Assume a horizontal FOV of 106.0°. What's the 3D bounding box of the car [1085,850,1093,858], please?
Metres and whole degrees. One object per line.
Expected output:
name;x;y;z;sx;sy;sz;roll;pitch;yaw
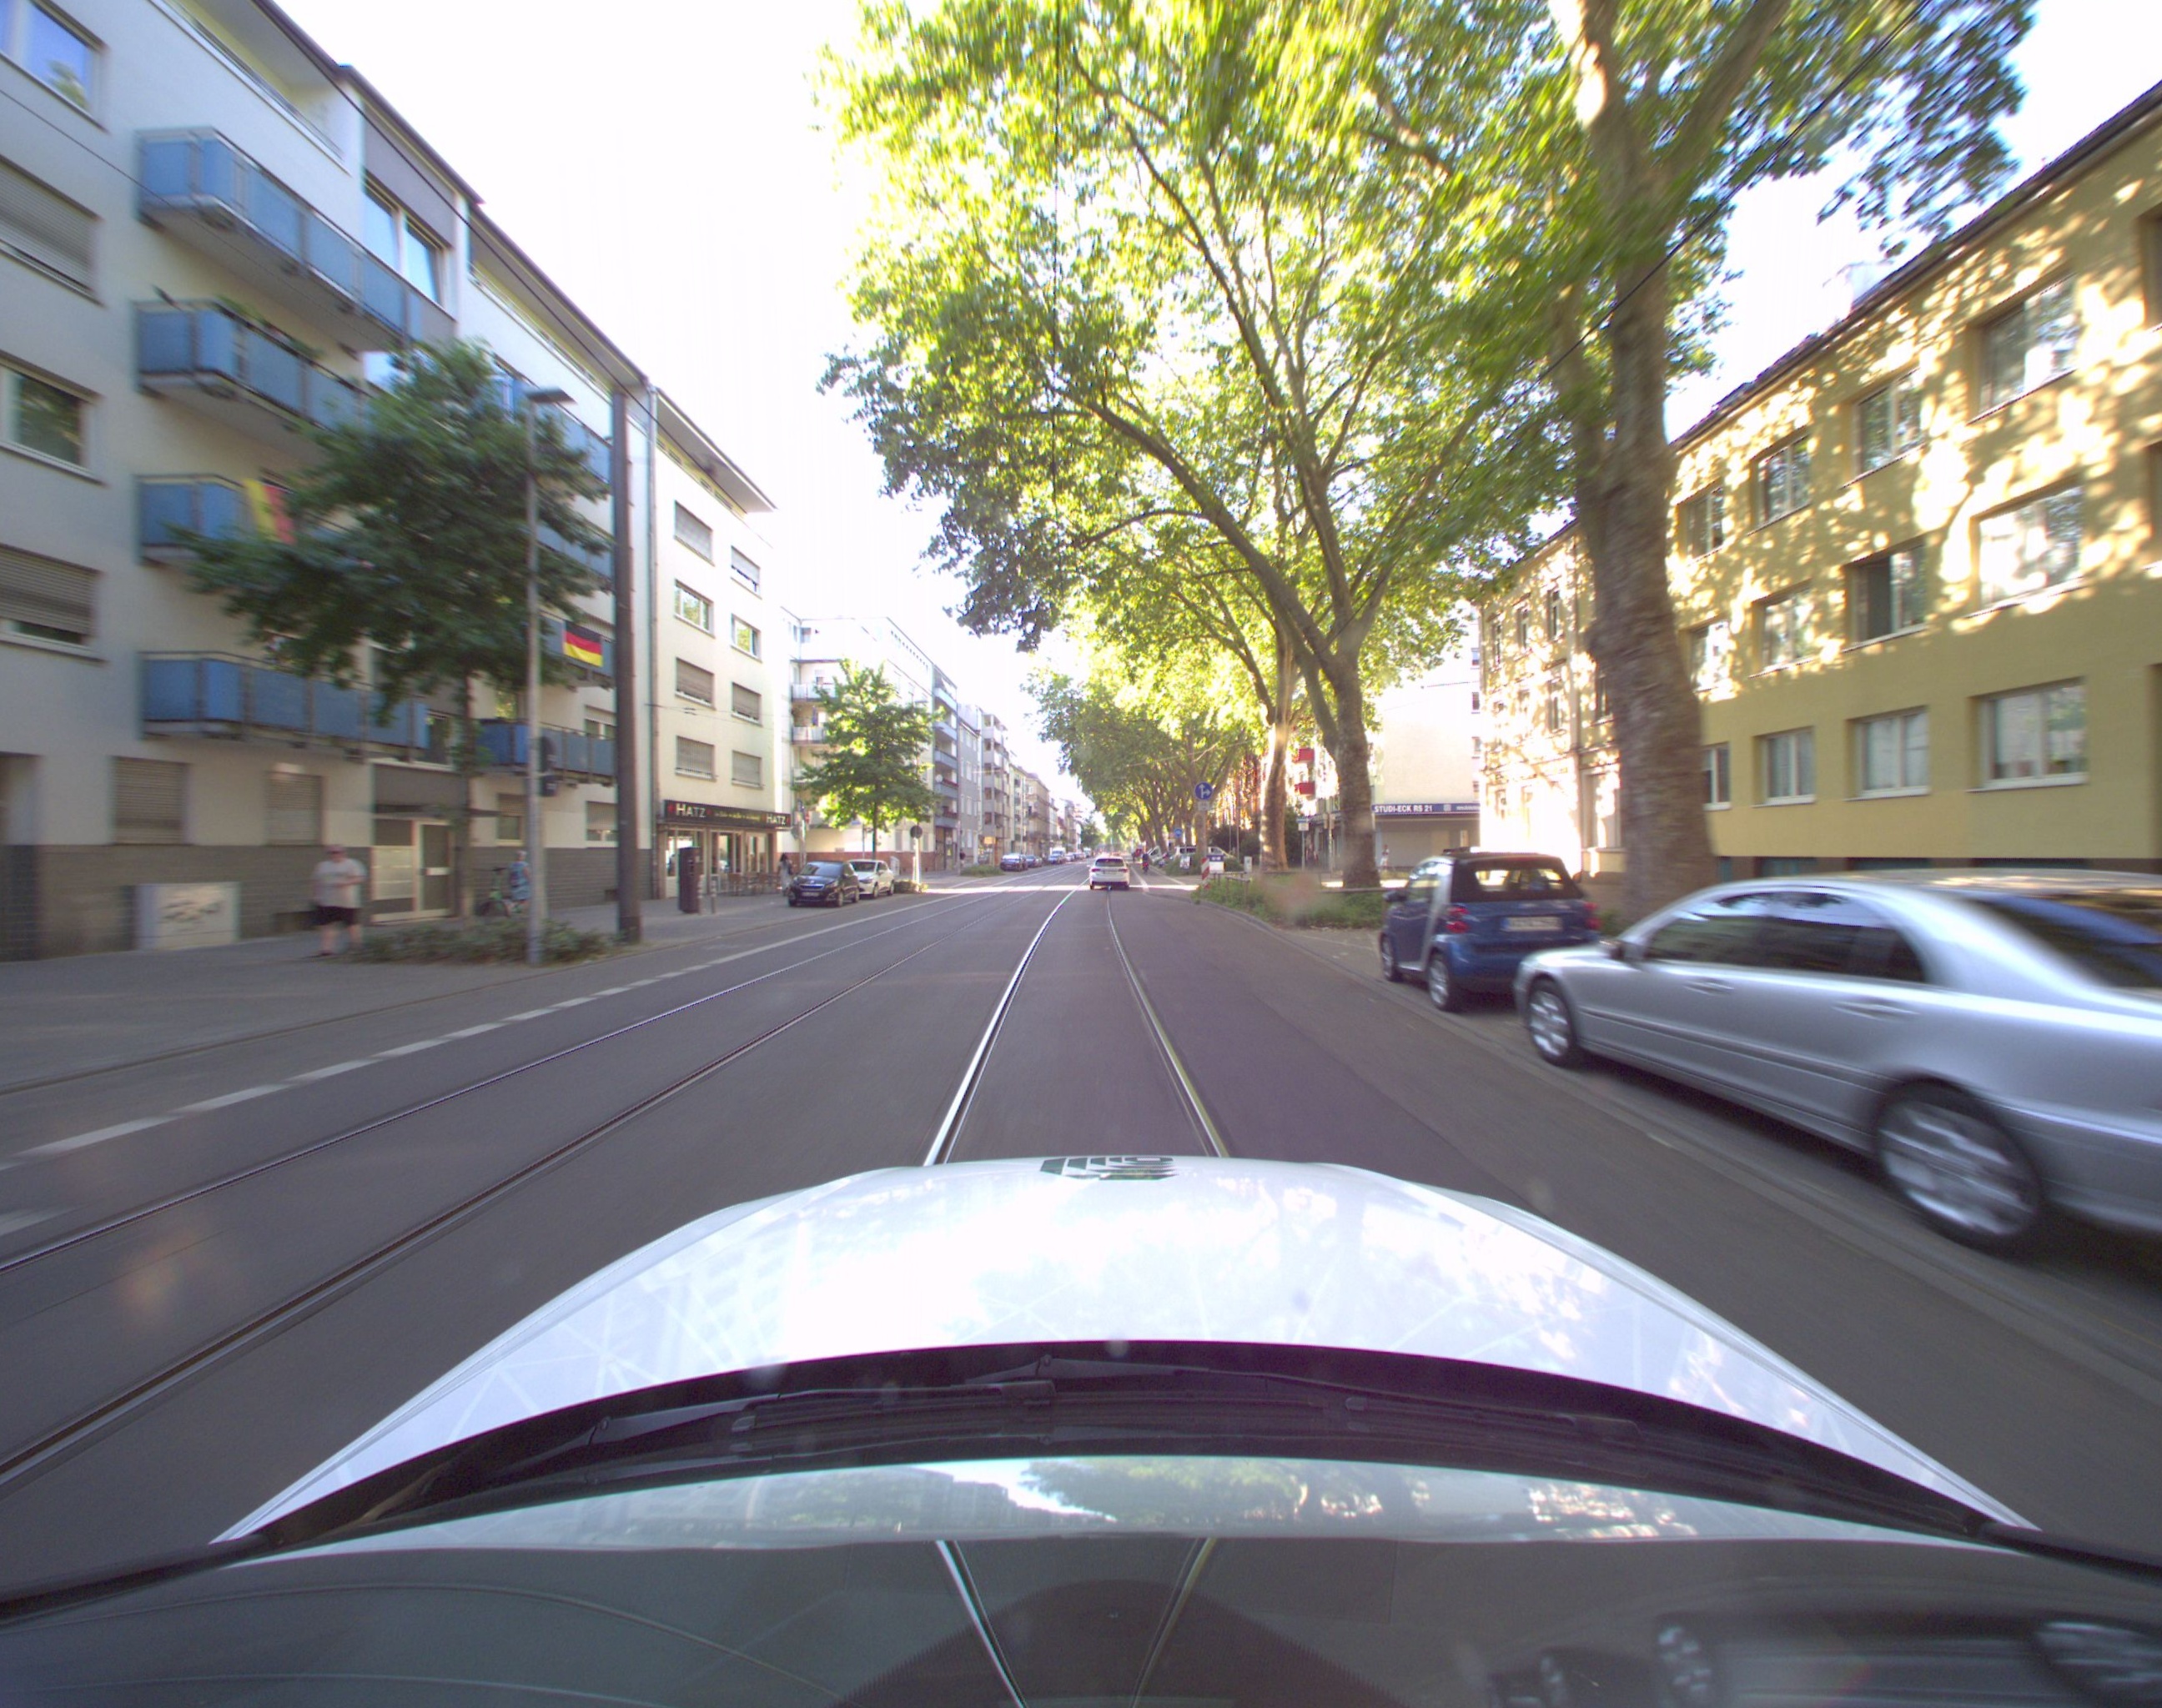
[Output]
car;2.388;0.008;236.431;1.985;2.013;4.003;-1;0;3

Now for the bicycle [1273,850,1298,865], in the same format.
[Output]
bicycle;17.741;0.289;70.652;1.941;1.156;0.571;-3;0;-5

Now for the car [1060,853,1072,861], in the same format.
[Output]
car;-2.771;0.540;152.922;1.985;1.530;4.003;-1;0;3

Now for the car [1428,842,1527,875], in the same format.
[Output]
car;20.185;0.241;41.545;4.121;1.593;1.998;-1;0;-3

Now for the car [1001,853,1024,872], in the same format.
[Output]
car;-6.377;0.800;75.914;1.696;1.650;4.242;1;0;1

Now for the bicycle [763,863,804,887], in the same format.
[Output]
bicycle;-15.098;1.059;41.285;1.930;1.156;0.574;-3;0;16

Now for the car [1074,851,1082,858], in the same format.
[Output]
car;-0.919;0.055;234.070;1.985;2.013;4.003;-1;0;3

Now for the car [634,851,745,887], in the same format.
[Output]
car;-20.748;0.773;43.340;4.862;1.822;2.037;-1;0;-2

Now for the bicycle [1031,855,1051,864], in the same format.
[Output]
bicycle;-5.334;0.772;108.872;2.544;1.172;0.873;2;-2;-37

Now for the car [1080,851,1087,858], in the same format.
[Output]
car;0.641;0.085;248.331;1.985;2.014;4.003;0;0;3

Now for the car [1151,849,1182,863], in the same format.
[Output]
car;10.264;0.260;98.220;3.617;1.666;1.824;-1;0;4

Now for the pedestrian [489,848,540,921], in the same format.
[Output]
pedestrian;-13.485;0.708;19.405;0.661;1.691;0.749;-1;0;1

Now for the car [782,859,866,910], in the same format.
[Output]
car;-8.378;0.944;26.887;1.710;1.464;3.994;2;0;-4

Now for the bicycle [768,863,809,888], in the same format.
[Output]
bicycle;-14.984;1.093;41.686;1.930;1.156;0.574;-3;0;16

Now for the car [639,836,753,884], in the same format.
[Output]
car;-23.157;0.327;49.140;5.788;2.723;2.171;-1;0;0

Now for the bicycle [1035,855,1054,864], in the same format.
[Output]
bicycle;-5.092;0.770;113.530;2.519;1.172;0.718;1;-2;-4

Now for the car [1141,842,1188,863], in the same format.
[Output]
car;11.334;-0.229;110.452;6.109;2.635;2.529;-1;0;0

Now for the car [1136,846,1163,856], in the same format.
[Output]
car;15.875;-0.638;189.252;6.109;2.282;2.529;-1;0;0

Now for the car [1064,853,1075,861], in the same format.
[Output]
car;-2.317;0.592;162.071;1.985;1.530;4.003;-1;0;3

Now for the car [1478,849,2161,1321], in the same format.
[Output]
car;4.247;0.737;4.448;1.811;1.436;4.601;-2;-1;-1

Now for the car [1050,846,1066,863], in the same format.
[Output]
car;-3.657;0.047;132.601;2.170;2.597;4.952;-1;0;3

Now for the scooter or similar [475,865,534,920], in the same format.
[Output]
scooter or similar;-14.185;0.926;20.057;0.373;1.289;1.240;-3;0;10

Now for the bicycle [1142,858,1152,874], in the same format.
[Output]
bicycle;4.655;0.842;57.376;0.678;1.071;1.782;-1;0;3

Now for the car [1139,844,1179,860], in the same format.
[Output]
car;12.326;-0.326;129.061;6.109;2.282;2.529;-1;0;0

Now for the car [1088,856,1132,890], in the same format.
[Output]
car;1.249;0.794;35.782;1.755;1.384;4.001;-1;0;1

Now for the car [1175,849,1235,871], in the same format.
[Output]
car;9.237;0.439;60.891;4.281;1.479;1.831;-1;0;1

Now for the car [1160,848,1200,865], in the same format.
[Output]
car;10.364;0.240;85.588;3.972;1.680;1.724;-1;0;1

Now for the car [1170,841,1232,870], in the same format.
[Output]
car;9.337;0.111;63.469;4.529;2.076;2.000;-1;0;0

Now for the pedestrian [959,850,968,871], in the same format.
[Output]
pedestrian;-10.321;0.570;71.486;0.661;1.826;0.965;-1;0;1

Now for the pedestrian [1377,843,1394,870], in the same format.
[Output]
pedestrian;18.141;0.148;48.505;0.743;1.644;0.666;-1;0;4

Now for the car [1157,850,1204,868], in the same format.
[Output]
car;9.074;0.433;74.704;4.128;1.514;1.932;-1;0;1

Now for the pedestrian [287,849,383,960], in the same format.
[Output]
pedestrian;-11.702;0.768;12.801;0.761;1.691;0.795;-1;0;1

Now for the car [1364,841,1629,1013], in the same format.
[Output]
car;4.318;0.690;8.948;1.556;1.519;2.914;-2;-1;5

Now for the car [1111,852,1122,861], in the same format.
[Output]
car;5.947;0.443;136.439;1.754;1.475;4.003;-1;0;3

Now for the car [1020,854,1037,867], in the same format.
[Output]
car;-5.888;0.715;91.511;1.648;1.437;3.837;-1;0;1

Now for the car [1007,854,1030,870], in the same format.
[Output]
car;-6.217;0.783;81.076;1.695;1.544;4.244;1;0;3

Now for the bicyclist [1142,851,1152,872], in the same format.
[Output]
bicyclist;4.650;0.492;57.369;0.675;1.443;1.048;-1;0;3

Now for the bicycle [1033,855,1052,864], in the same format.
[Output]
bicycle;-5.204;0.772;110.638;2.518;1.172;0.718;1;-2;-3

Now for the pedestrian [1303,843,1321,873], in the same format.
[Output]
pedestrian;14.692;0.251;51.809;0.764;1.866;1.188;-1;0;-1

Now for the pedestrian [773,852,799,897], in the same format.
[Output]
pedestrian;-11.273;0.775;31.115;0.661;1.691;0.749;-1;0;1

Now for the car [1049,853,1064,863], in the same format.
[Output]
car;-3.826;0.591;126.654;1.985;1.530;4.003;-1;0;3

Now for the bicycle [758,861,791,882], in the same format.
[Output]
bicycle;-18.471;1.058;49.041;1.739;1.156;0.585;-3;0;6

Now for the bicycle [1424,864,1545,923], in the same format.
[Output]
bicycle;7.579;0.752;15.344;1.944;1.006;0.514;-4;-1;28

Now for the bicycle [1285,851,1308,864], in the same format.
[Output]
bicycle;18.649;0.301;70.553;1.786;1.041;0.617;-3;0;-2

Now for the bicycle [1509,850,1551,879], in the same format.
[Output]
bicycle;17.548;0.399;31.850;0.580;1.104;1.923;-3;0;2

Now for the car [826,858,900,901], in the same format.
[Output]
car;-8.359;0.922;31.550;1.708;1.464;4.374;2;0;-1

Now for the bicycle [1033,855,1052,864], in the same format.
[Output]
bicycle;-5.231;0.774;109.751;2.520;1.172;0.718;1;-2;-4

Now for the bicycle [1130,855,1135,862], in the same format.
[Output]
bicycle;7.633;0.626;121.699;0.647;1.071;1.583;-1;0;1

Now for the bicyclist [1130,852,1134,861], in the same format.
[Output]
bicyclist;7.620;0.307;121.713;0.647;1.344;0.934;-1;0;1

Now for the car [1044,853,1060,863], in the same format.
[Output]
car;-4.254;0.565;120.881;1.985;1.530;4.003;-1;0;3
